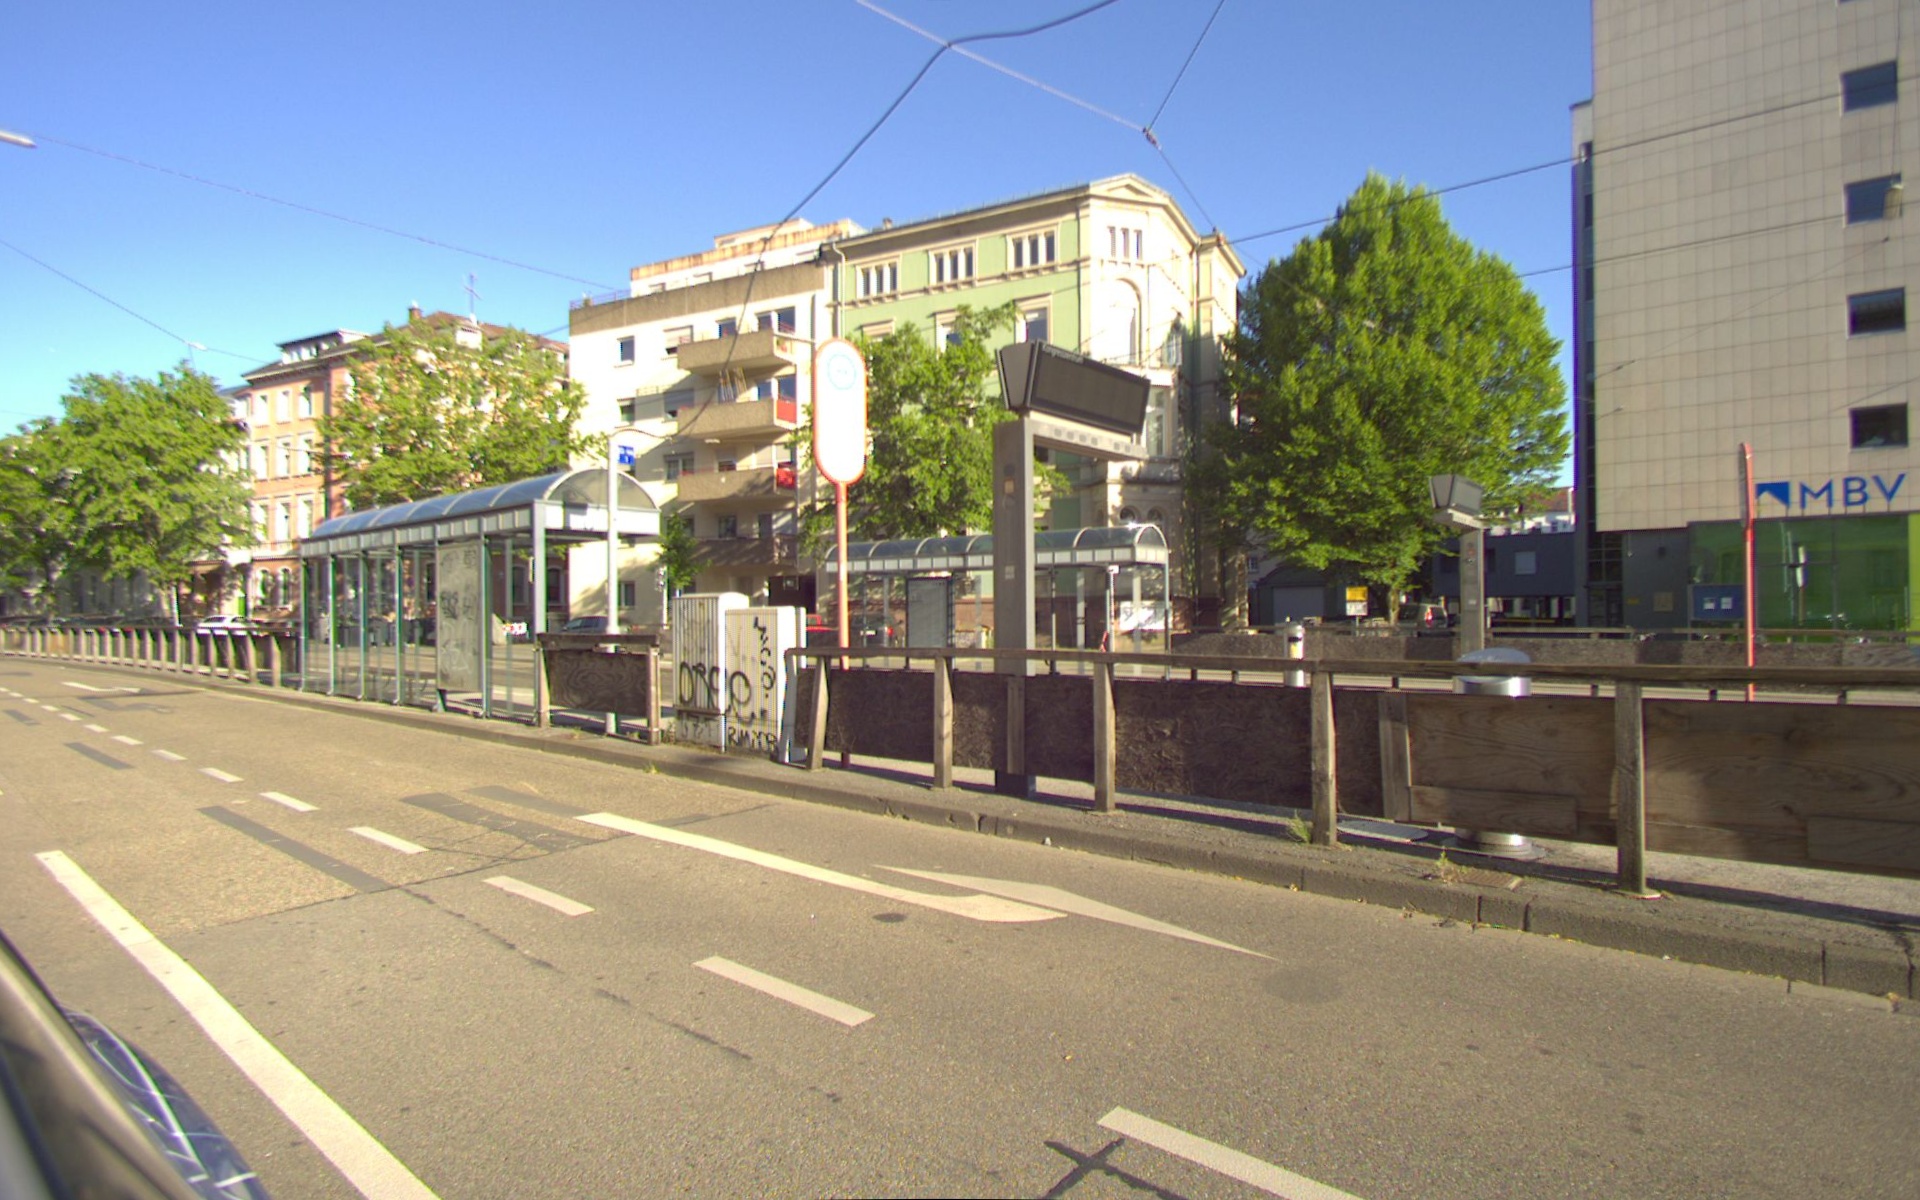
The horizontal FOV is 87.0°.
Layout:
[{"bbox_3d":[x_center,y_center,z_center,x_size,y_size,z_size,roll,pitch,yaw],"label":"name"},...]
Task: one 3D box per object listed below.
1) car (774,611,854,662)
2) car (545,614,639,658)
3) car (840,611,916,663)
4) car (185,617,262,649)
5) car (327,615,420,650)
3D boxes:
[{"bbox_3d":[-4.924,1.208,34.566,1.614,1.579,3.588,-1,0,11],"label":"car"},{"bbox_3d":[-14.036,1.326,38.519,3.592,1.579,1.612,-1,0,35],"label":"car"},{"bbox_3d":[-2.651,1.179,33.370,1.614,1.579,3.588,-1,0,11],"label":"car"},{"bbox_3d":[-39.402,1.731,54.214,1.607,1.579,3.601,-1,0,-2],"label":"car"},{"bbox_3d":[-28.402,1.551,49.056,1.626,1.579,3.560,-1,0,33],"label":"car"}]
